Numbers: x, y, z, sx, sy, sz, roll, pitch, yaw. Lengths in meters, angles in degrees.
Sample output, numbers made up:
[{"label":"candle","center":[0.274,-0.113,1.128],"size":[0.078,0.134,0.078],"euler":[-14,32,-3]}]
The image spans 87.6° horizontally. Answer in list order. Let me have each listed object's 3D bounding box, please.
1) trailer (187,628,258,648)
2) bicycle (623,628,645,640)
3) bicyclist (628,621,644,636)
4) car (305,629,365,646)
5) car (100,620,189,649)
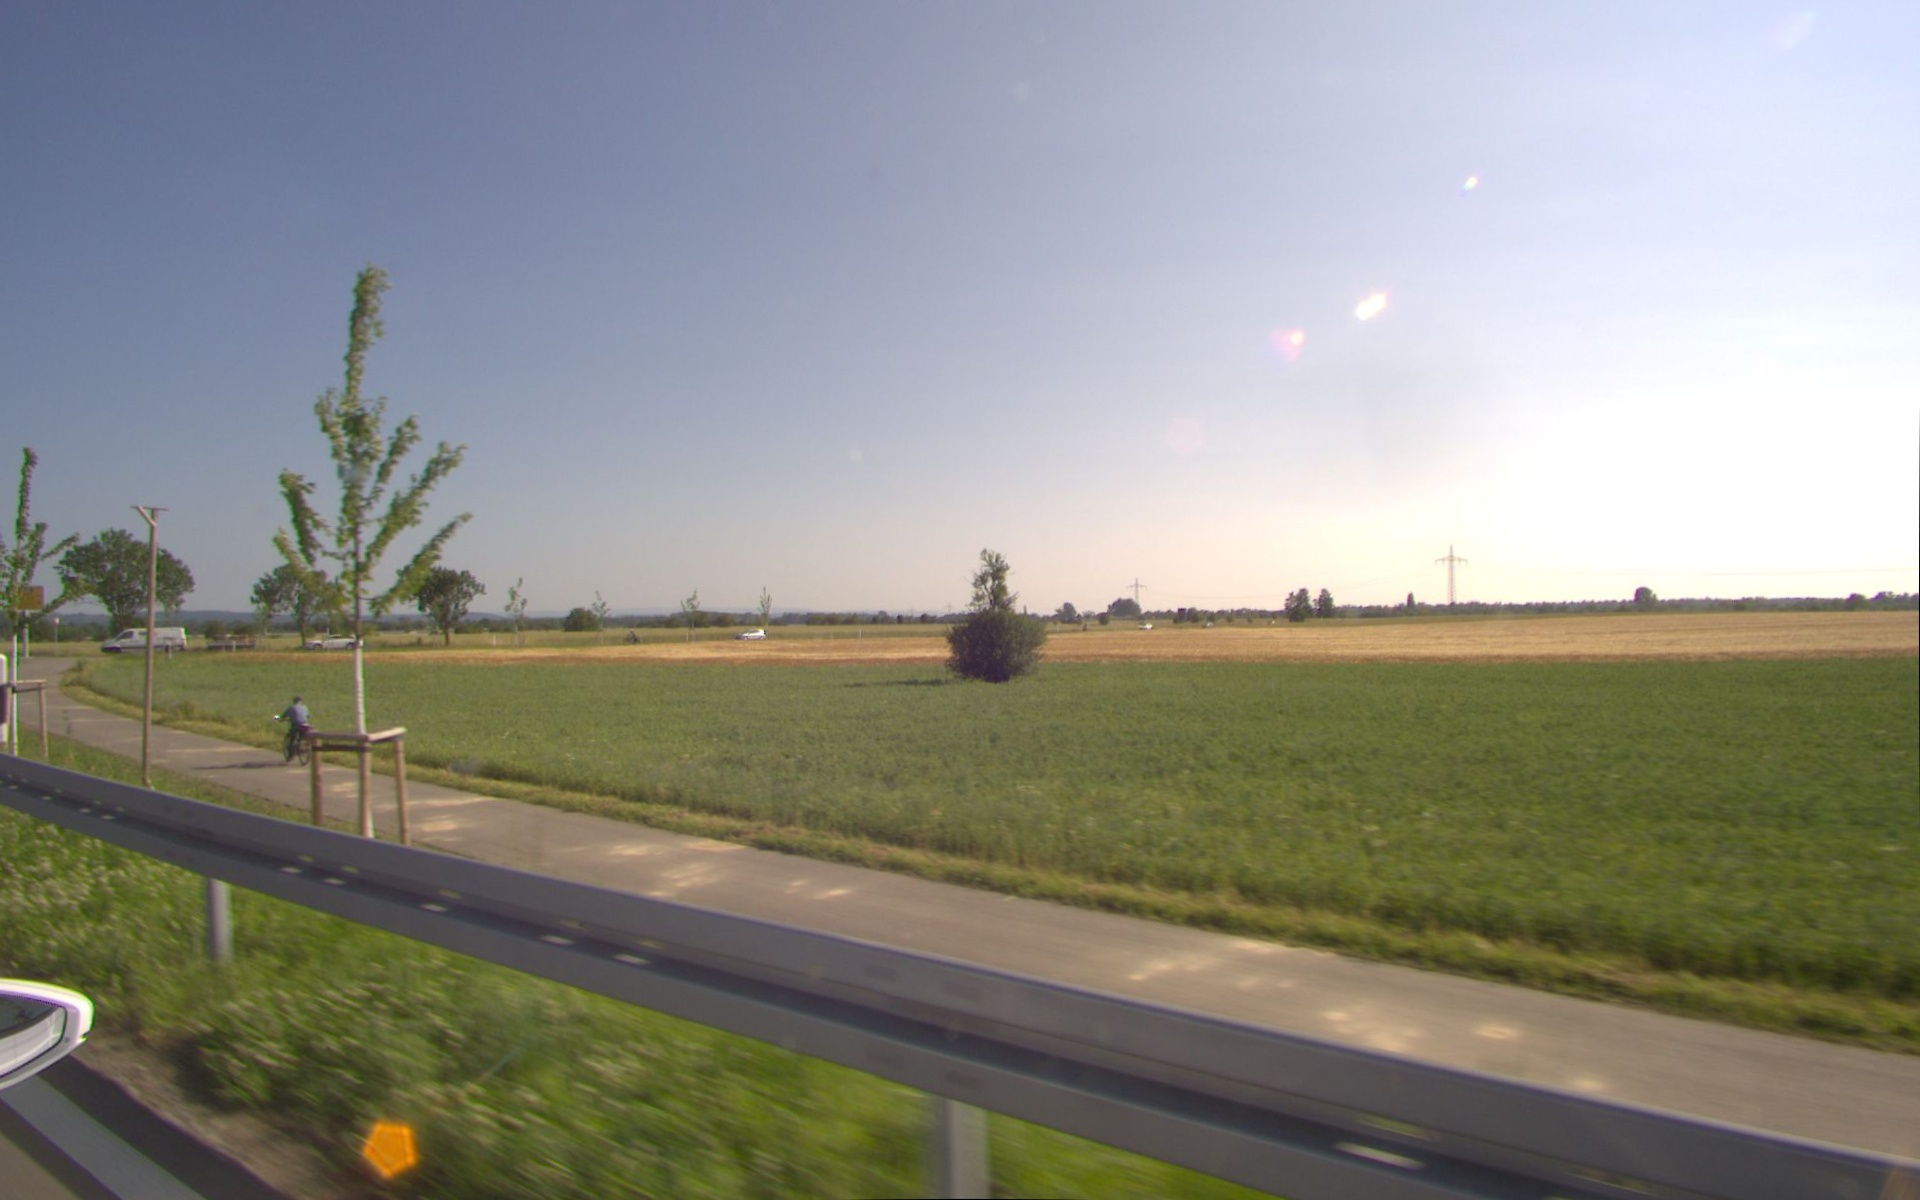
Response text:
[{"label":"trailer","center":[-68.057,3.532,92.554],"size":[5.212,1.775,1.941],"euler":[0,-2,-36]},{"label":"bicycle","center":[-35.189,3.650,108.043],"size":[2.138,1.201,0.883],"euler":[1,-3,-38]},{"label":"bicyclist","center":[-35.004,3.070,108.220],"size":[1.268,1.622,1.156],"euler":[1,-1,-38]},{"label":"car","center":[-61.184,3.688,98.036],"size":[4.829,1.528,1.985],"euler":[2,-4,-39]},{"label":"car","center":[-72.575,3.101,89.241],"size":[5.903,2.523,1.987],"euler":[2,-4,-36]}]
